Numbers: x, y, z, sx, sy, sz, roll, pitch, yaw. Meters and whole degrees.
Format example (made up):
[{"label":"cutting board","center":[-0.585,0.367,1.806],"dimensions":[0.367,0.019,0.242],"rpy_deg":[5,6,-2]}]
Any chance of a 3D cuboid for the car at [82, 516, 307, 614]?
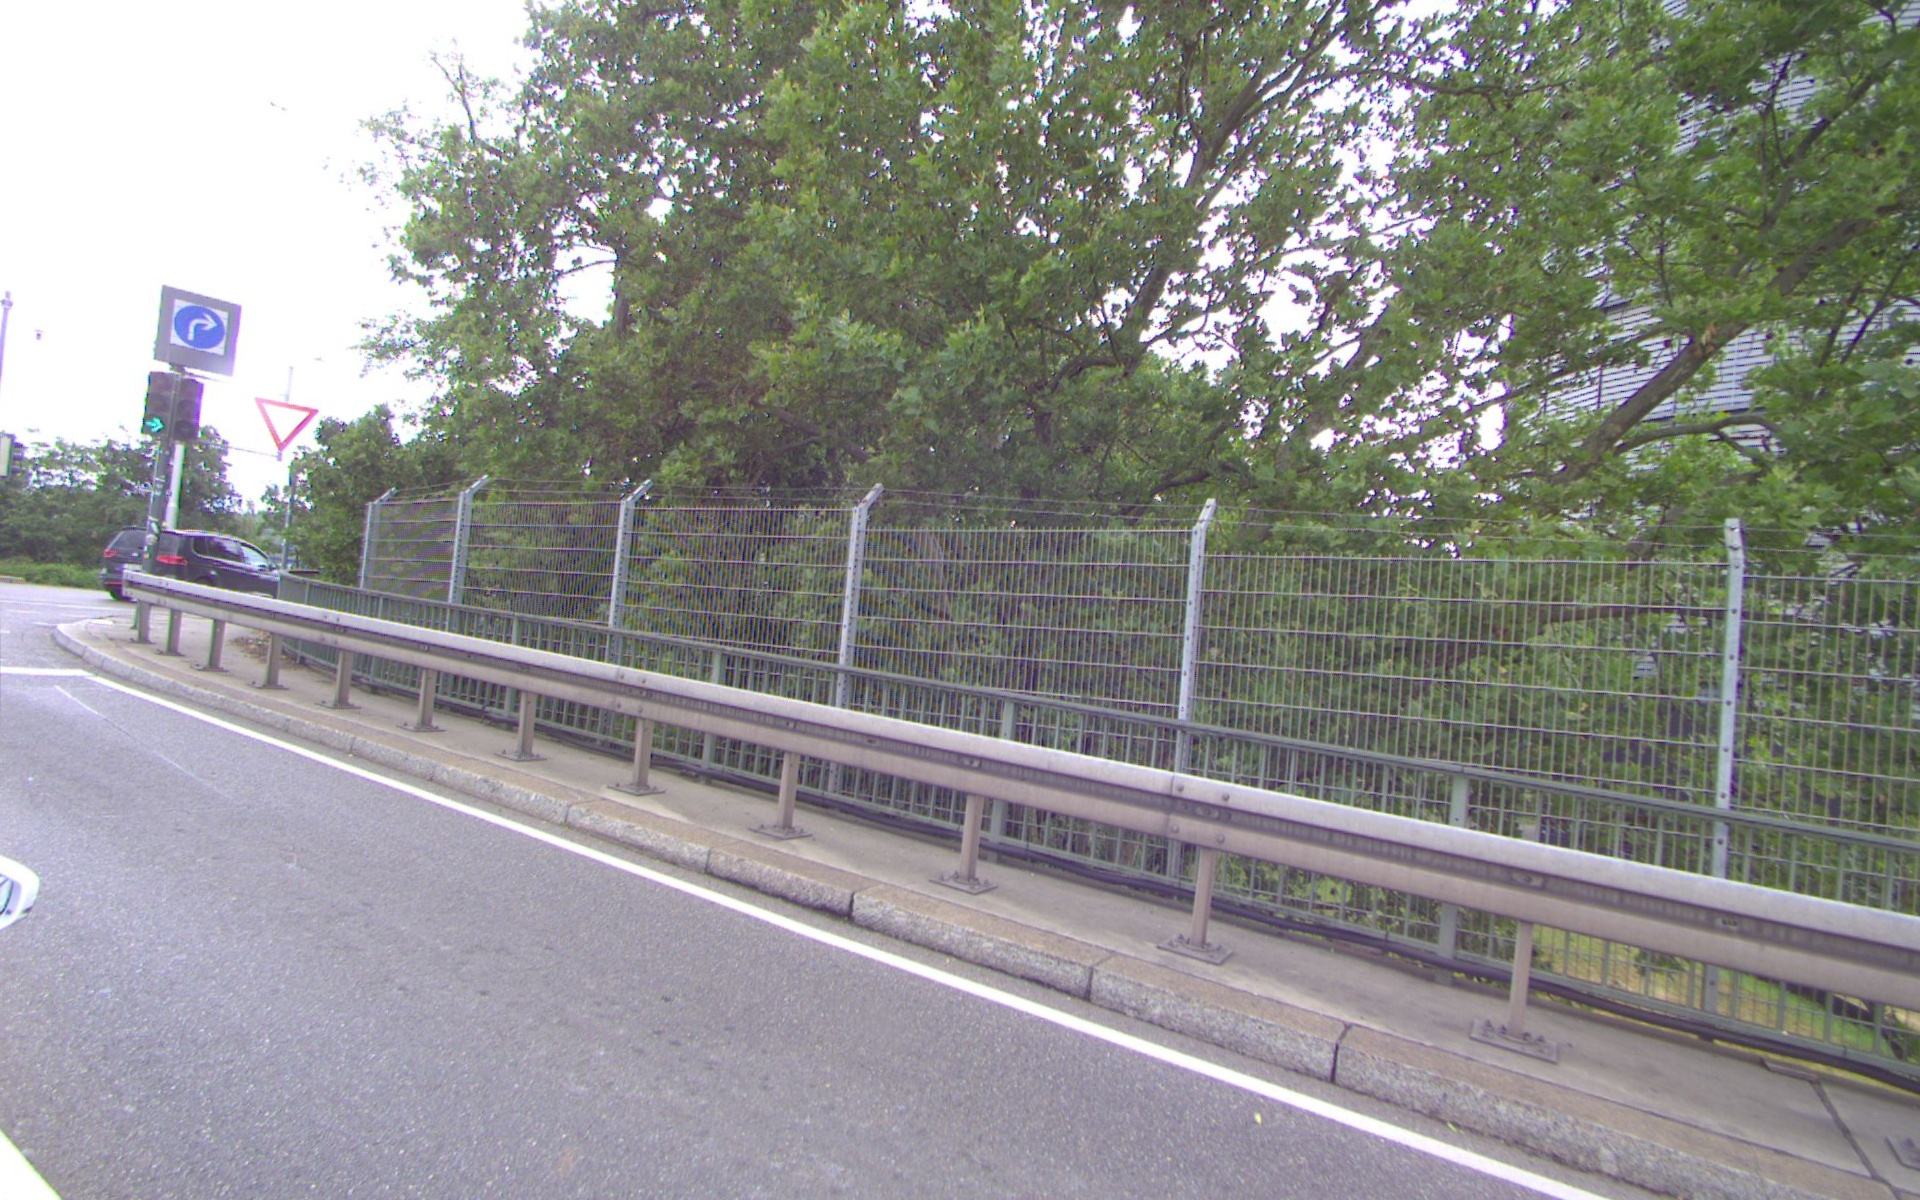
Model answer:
[{"label":"car","center":[-16.899,-0.678,22.520],"dimensions":[1.769,1.672,4.152],"rpy_deg":[7,-2,-2]}]
